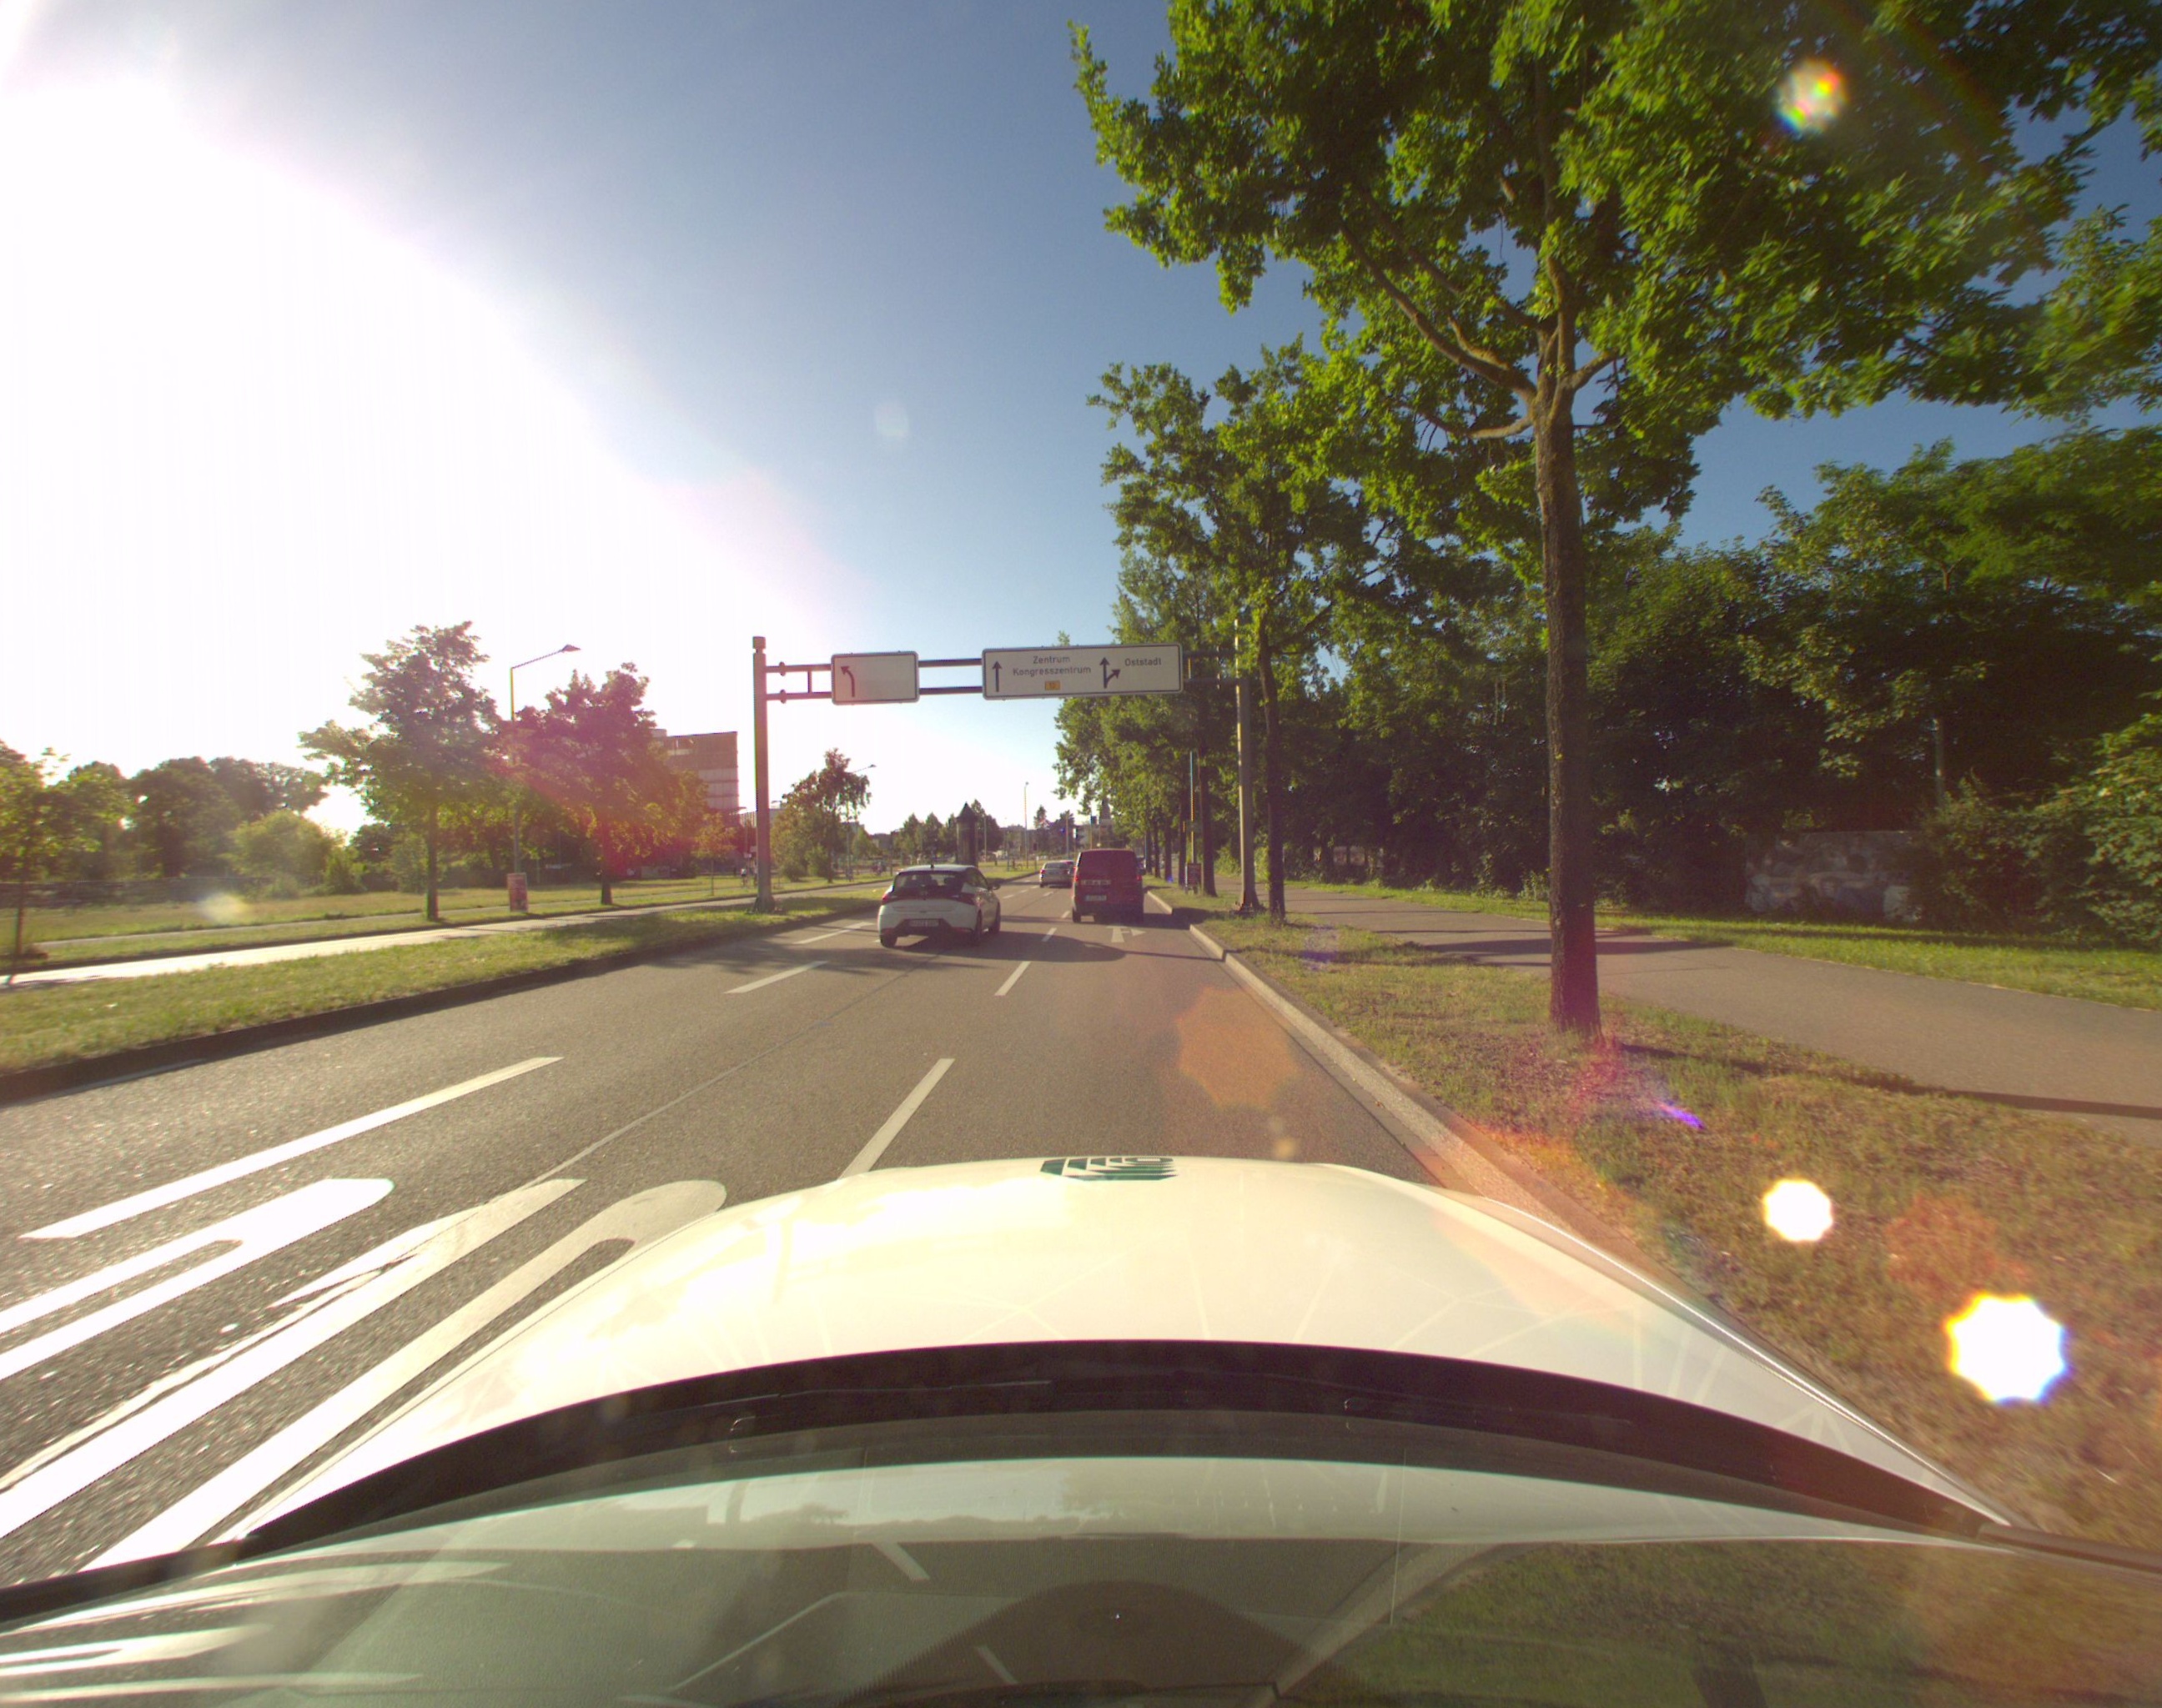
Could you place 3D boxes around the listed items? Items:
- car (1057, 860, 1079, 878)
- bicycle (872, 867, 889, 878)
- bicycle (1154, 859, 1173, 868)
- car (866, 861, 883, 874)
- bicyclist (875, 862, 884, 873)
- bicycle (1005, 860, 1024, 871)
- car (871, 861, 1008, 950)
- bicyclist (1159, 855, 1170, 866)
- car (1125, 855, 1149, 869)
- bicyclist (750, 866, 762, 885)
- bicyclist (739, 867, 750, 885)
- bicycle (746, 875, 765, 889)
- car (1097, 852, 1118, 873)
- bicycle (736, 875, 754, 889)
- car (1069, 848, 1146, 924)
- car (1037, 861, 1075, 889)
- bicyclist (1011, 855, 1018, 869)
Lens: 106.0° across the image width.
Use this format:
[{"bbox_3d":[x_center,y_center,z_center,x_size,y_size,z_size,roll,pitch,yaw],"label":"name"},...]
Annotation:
[{"bbox_3d":[-1.051,1.225,68.286,1.655,1.398,3.560,-2,0,2],"label":"car"},{"bbox_3d":[-22.221,2.072,90.144,1.714,1.107,0.607,-2,-1,14],"label":"bicycle"},{"bbox_3d":[9.312,1.095,91.767,2.133,0.958,0.781,-2,-1,-31],"label":"bicycle"},{"bbox_3d":[-31.520,2.063,124.114,1.643,1.876,3.964,-2,0,-28],"label":"car"},{"bbox_3d":[-22.330,1.493,90.181,0.729,1.107,0.607,-2,-1,14],"label":"bicyclist"},{"bbox_3d":[-7.319,1.224,89.730,1.952,1.166,0.517,-2,0,0],"label":"bicycle"},{"bbox_3d":[-2.579,0.887,15.838,1.771,1.409,4.077,-1,0,2],"label":"car"},{"bbox_3d":[9.444,0.730,91.868,0.974,1.249,0.781,-1,-1,-30],"label":"bicyclist"},{"bbox_3d":[6.408,0.914,93.558,1.757,1.625,3.945,-1,0,19],"label":"car"},{"bbox_3d":[-24.710,1.631,61.884,0.560,1.392,0.747,-2,-1,1],"label":"bicyclist"},{"bbox_3d":[-25.736,1.667,62.264,0.480,1.395,0.844,-2,-1,1],"label":"bicyclist"},{"bbox_3d":[-24.697,2.136,61.865,0.568,1.003,2.096,-2,0,1],"label":"bicycle"},{"bbox_3d":[2.271,0.724,70.474,1.654,1.762,3.497,-2,0,0],"label":"car"},{"bbox_3d":[-25.715,2.155,62.315,0.485,1.003,2.096,-2,0,1],"label":"bicycle"},{"bbox_3d":[0.677,0.750,21.192,1.799,1.759,4.007,-1,0,2],"label":"car"},{"bbox_3d":[-1.388,1.151,46.624,1.834,1.456,4.165,0,0,2],"label":"car"},{"bbox_3d":[-7.327,0.888,89.728,0.601,1.468,0.517,-2,0,0],"label":"bicyclist"}]
